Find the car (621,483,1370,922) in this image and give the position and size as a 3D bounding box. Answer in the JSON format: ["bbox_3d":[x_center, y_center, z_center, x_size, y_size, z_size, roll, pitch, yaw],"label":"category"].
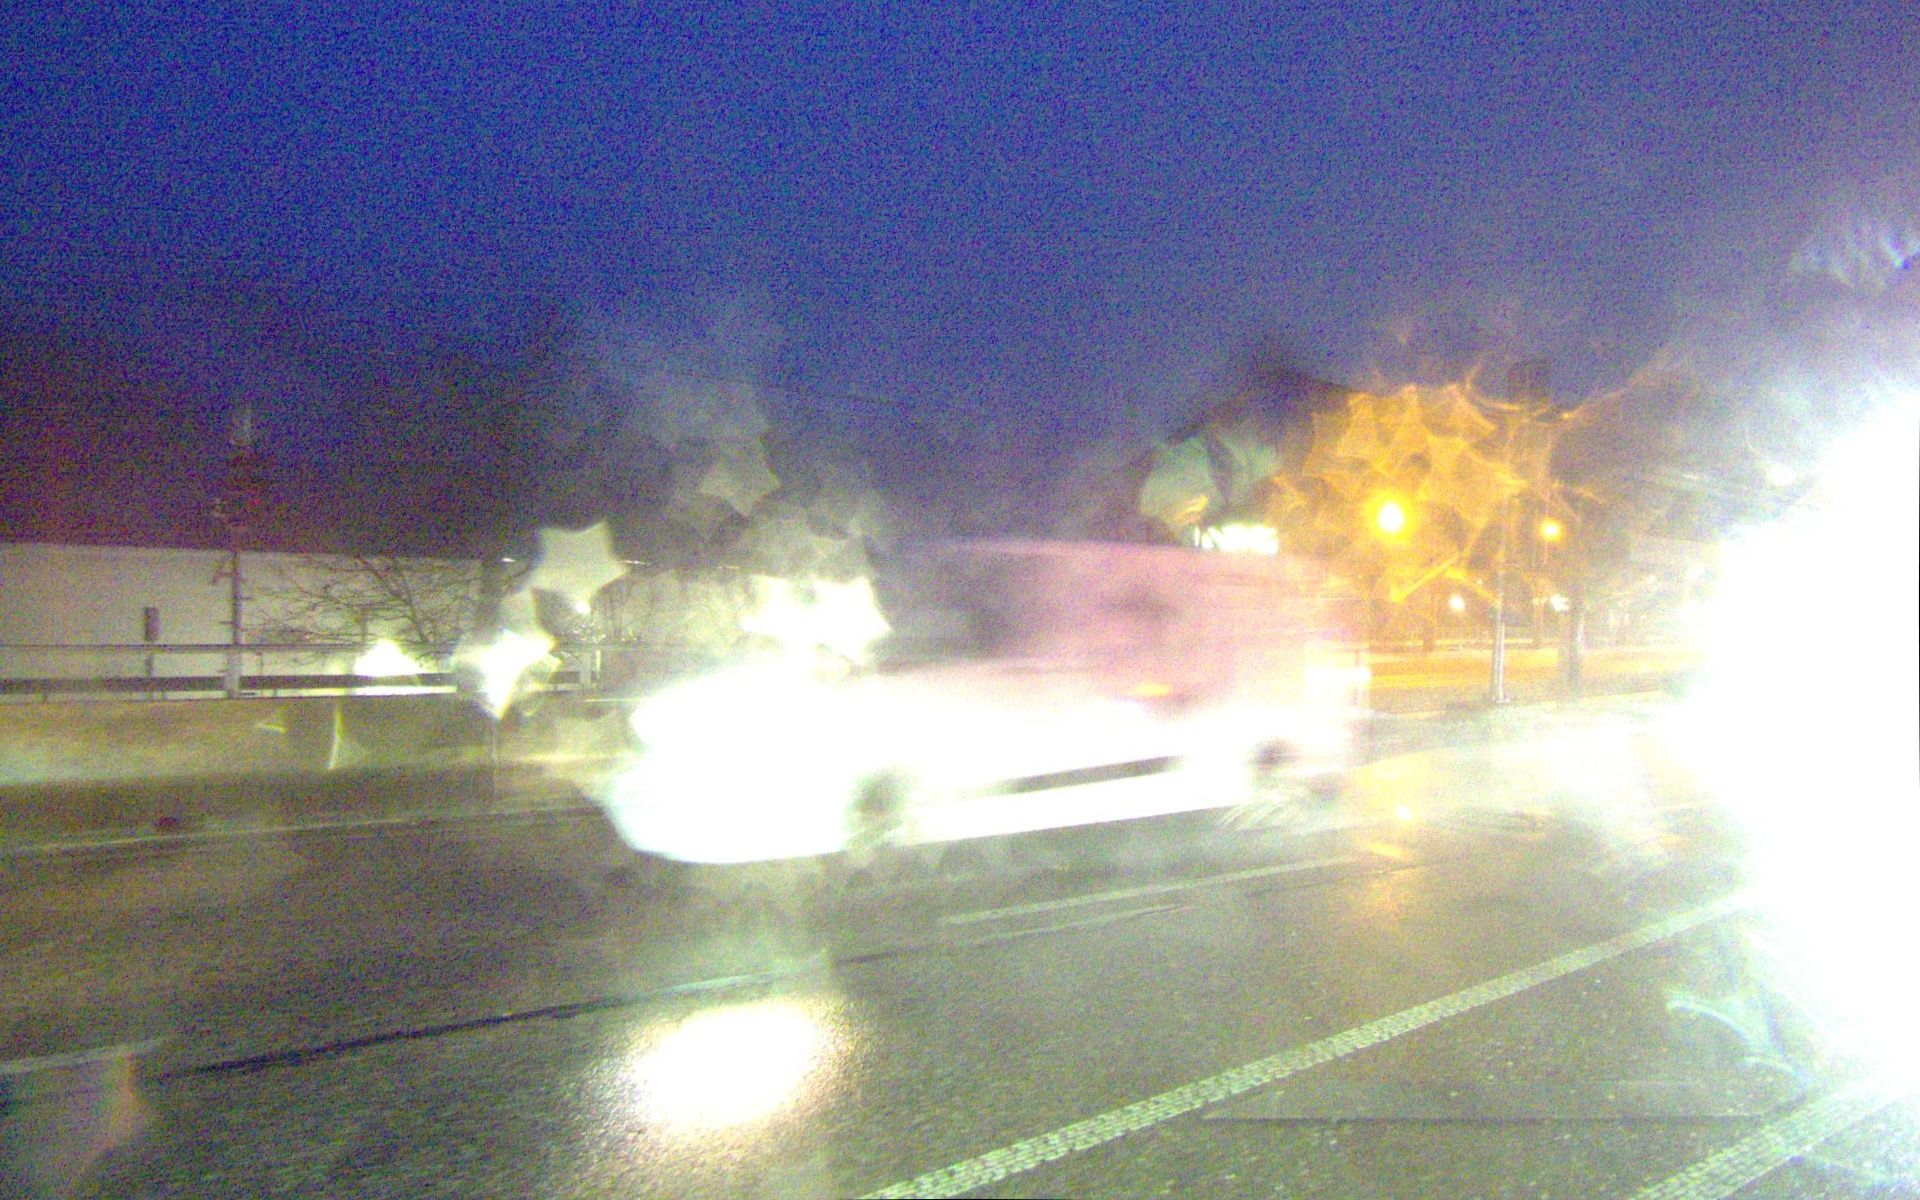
[{"bbox_3d":[0.349,0.542,6.763,4.658,2.040,2.075,2,-1,-30],"label":"car"}]
